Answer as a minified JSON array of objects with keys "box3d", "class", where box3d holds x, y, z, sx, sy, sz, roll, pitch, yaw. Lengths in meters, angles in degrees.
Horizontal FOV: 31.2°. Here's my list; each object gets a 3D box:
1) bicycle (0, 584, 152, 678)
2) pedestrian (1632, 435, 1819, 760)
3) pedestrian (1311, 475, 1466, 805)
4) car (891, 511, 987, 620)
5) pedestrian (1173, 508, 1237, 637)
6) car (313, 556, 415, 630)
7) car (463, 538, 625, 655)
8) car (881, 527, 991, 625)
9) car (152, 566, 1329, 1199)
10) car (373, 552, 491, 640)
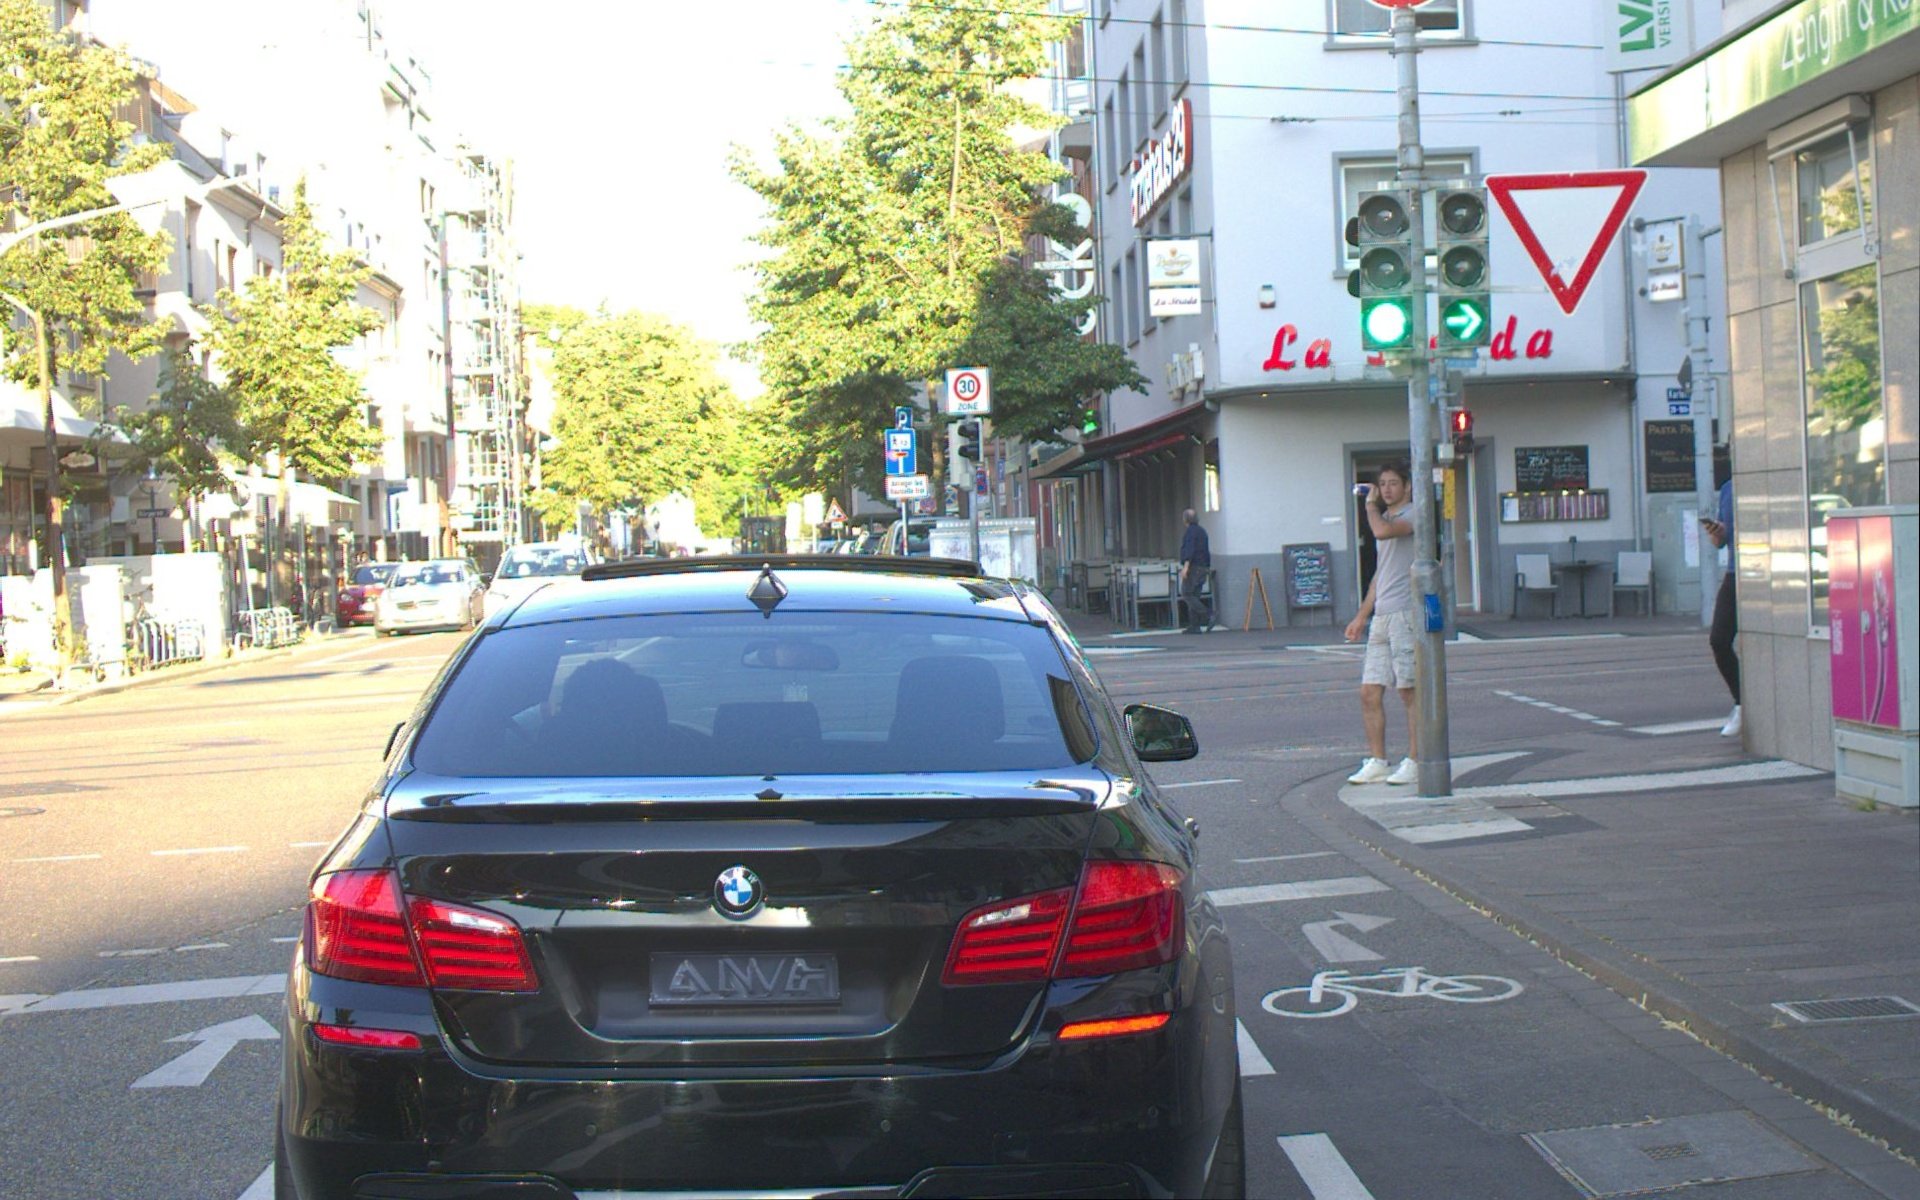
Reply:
[{"box3d":[-12.333,0.423,47.160,2.366,1.248,0.640,-1,0,-6],"class":"bicycle"},{"box3d":[4.459,-0.017,20.075,0.877,1.821,0.693,-3,1,4],"class":"pedestrian"},{"box3d":[2.317,0.208,18.647,0.651,1.736,0.694,-2,1,-3],"class":"pedestrian"},{"box3d":[-0.352,-0.643,61.245,1.640,1.867,3.607,1,2,0],"class":"car"},{"box3d":[3.239,-0.369,45.551,0.711,1.670,0.703,-2,1,-3],"class":"pedestrian"},{"box3d":[-13.641,-0.168,78.850,1.834,1.551,3.780,-3,0,-4],"class":"car"},{"box3d":[-6.150,-0.060,51.221,2.107,1.551,4.013,-3,0,-4],"class":"car"},{"box3d":[-0.357,-0.394,54.568,1.640,1.439,3.607,-2,1,0],"class":"car"},{"box3d":[-0.405,0.683,7.955,1.953,1.493,4.465,0,1,-1],"class":"car"},{"box3d":[-10.166,-0.078,66.403,1.834,1.551,3.780,-3,0,-4],"class":"car"}]
